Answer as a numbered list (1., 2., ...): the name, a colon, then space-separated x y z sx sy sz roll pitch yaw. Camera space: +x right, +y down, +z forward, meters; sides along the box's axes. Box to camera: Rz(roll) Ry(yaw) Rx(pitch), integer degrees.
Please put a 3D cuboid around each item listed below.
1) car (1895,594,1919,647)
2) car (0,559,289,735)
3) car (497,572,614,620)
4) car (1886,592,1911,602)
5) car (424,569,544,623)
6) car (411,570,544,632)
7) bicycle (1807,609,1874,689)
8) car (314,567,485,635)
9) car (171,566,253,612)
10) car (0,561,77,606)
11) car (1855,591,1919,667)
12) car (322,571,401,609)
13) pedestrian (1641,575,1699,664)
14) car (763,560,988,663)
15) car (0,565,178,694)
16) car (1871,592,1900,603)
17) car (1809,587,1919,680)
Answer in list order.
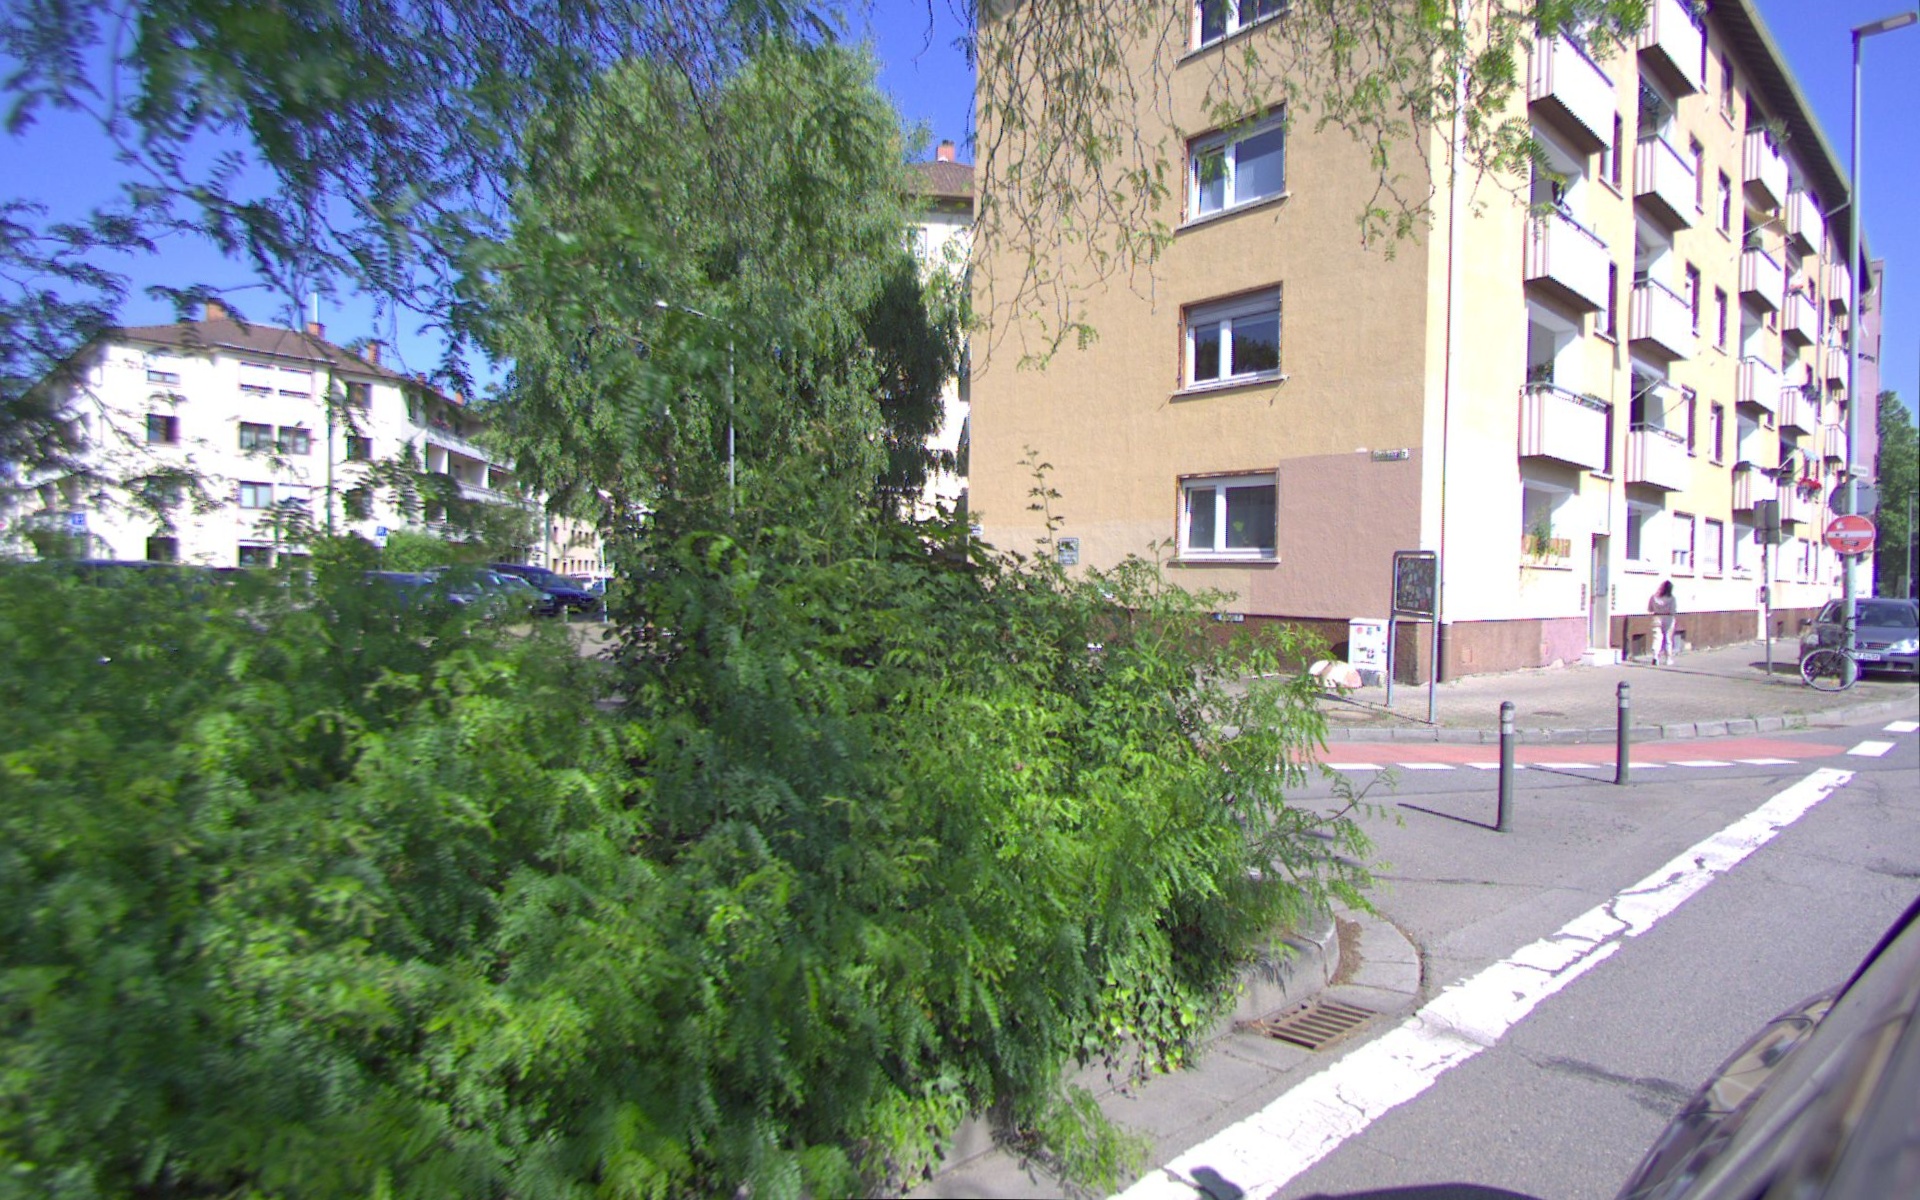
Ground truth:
1. car: 28.522 0.615 29.411 1.801 1.456 4.516 3 2 44
2. car: -8.993 0.368 11.011 3.955 1.567 1.814 2 1 41
3. car: -14.928 -0.175 37.305 3.962 1.660 1.891 2 1 28
4. car: 139.642 -0.419 150.613 1.663 1.487 3.548 1 1 24
5. car: -16.526 -0.176 35.099 3.967 1.749 1.849 2 1 31
6. car: -15.046 -0.005 31.502 3.967 1.749 1.849 2 1 31
7. bicycle: 13.580 0.720 15.589 0.702 1.138 1.718 2 1 43
8. car: -14.037 -0.005 25.315 3.964 1.532 1.915 2 1 28
9. car: -27.929 -0.440 37.763 3.826 1.616 1.691 2 1 41
10. car: -32.182 -0.593 35.098 3.784 1.491 1.738 2 1 40
11. car: 20.437 0.598 21.558 4.185 1.480 1.712 1 1 -44
12. car: -25.130 -0.438 42.435 3.987 1.482 1.818 3 1 43
13. pedestrian: 13.652 0.365 19.462 0.809 1.629 0.657 1 2 -40
14. car: -1.459 0.136 18.069 3.716 1.660 1.660 -1 2 -38
15. car: -12.708 0.318 14.194 3.749 1.460 1.758 4 2 36
16. car: 133.828 -0.409 146.411 1.850 1.471 4.170 1 1 24
17. car: 16.902 0.542 18.573 1.704 1.533 4.026 2 1 44
